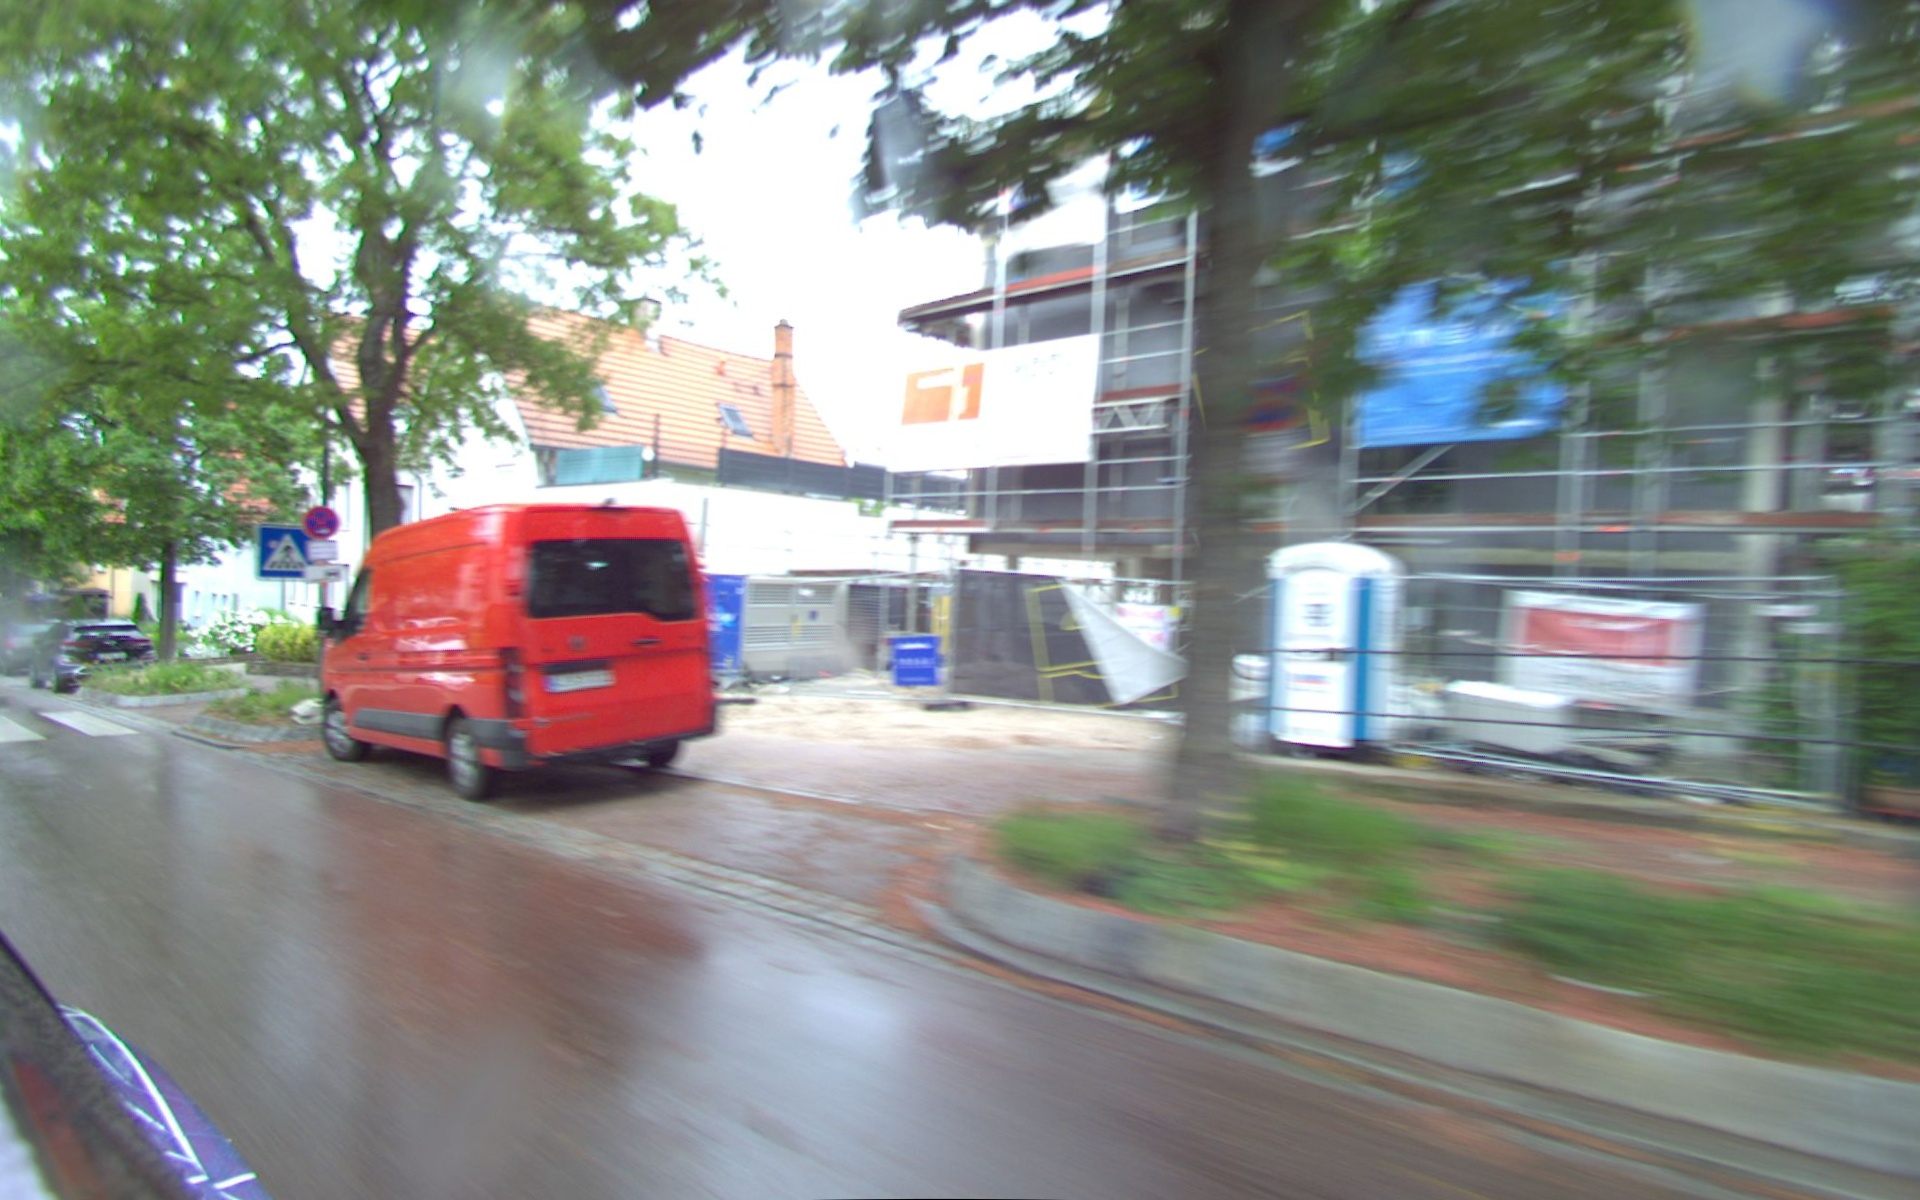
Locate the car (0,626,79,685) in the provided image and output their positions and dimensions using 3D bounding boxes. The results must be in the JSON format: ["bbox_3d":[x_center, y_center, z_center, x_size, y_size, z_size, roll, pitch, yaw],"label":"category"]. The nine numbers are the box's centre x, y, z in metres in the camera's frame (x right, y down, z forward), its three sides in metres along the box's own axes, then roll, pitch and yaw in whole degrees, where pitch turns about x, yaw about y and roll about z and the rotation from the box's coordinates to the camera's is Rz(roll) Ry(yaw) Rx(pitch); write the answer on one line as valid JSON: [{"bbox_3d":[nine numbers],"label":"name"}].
[{"bbox_3d":[-26.901,1.548,29.358,3.865,1.544,1.629,-1,0,43],"label":"car"}]

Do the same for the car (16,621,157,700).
[{"bbox_3d":[-19.815,1.312,22.915,3.996,1.565,1.754,-2,0,40],"label":"car"}]

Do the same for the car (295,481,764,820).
[{"bbox_3d":[-4.660,0.452,10.300,5.785,2.502,2.278,-2,-2,44],"label":"car"}]

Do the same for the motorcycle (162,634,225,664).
[{"bbox_3d":[-31.474,2.003,41.571,0.817,1.171,1.961,-2,-2,41],"label":"motorcycle"}]
